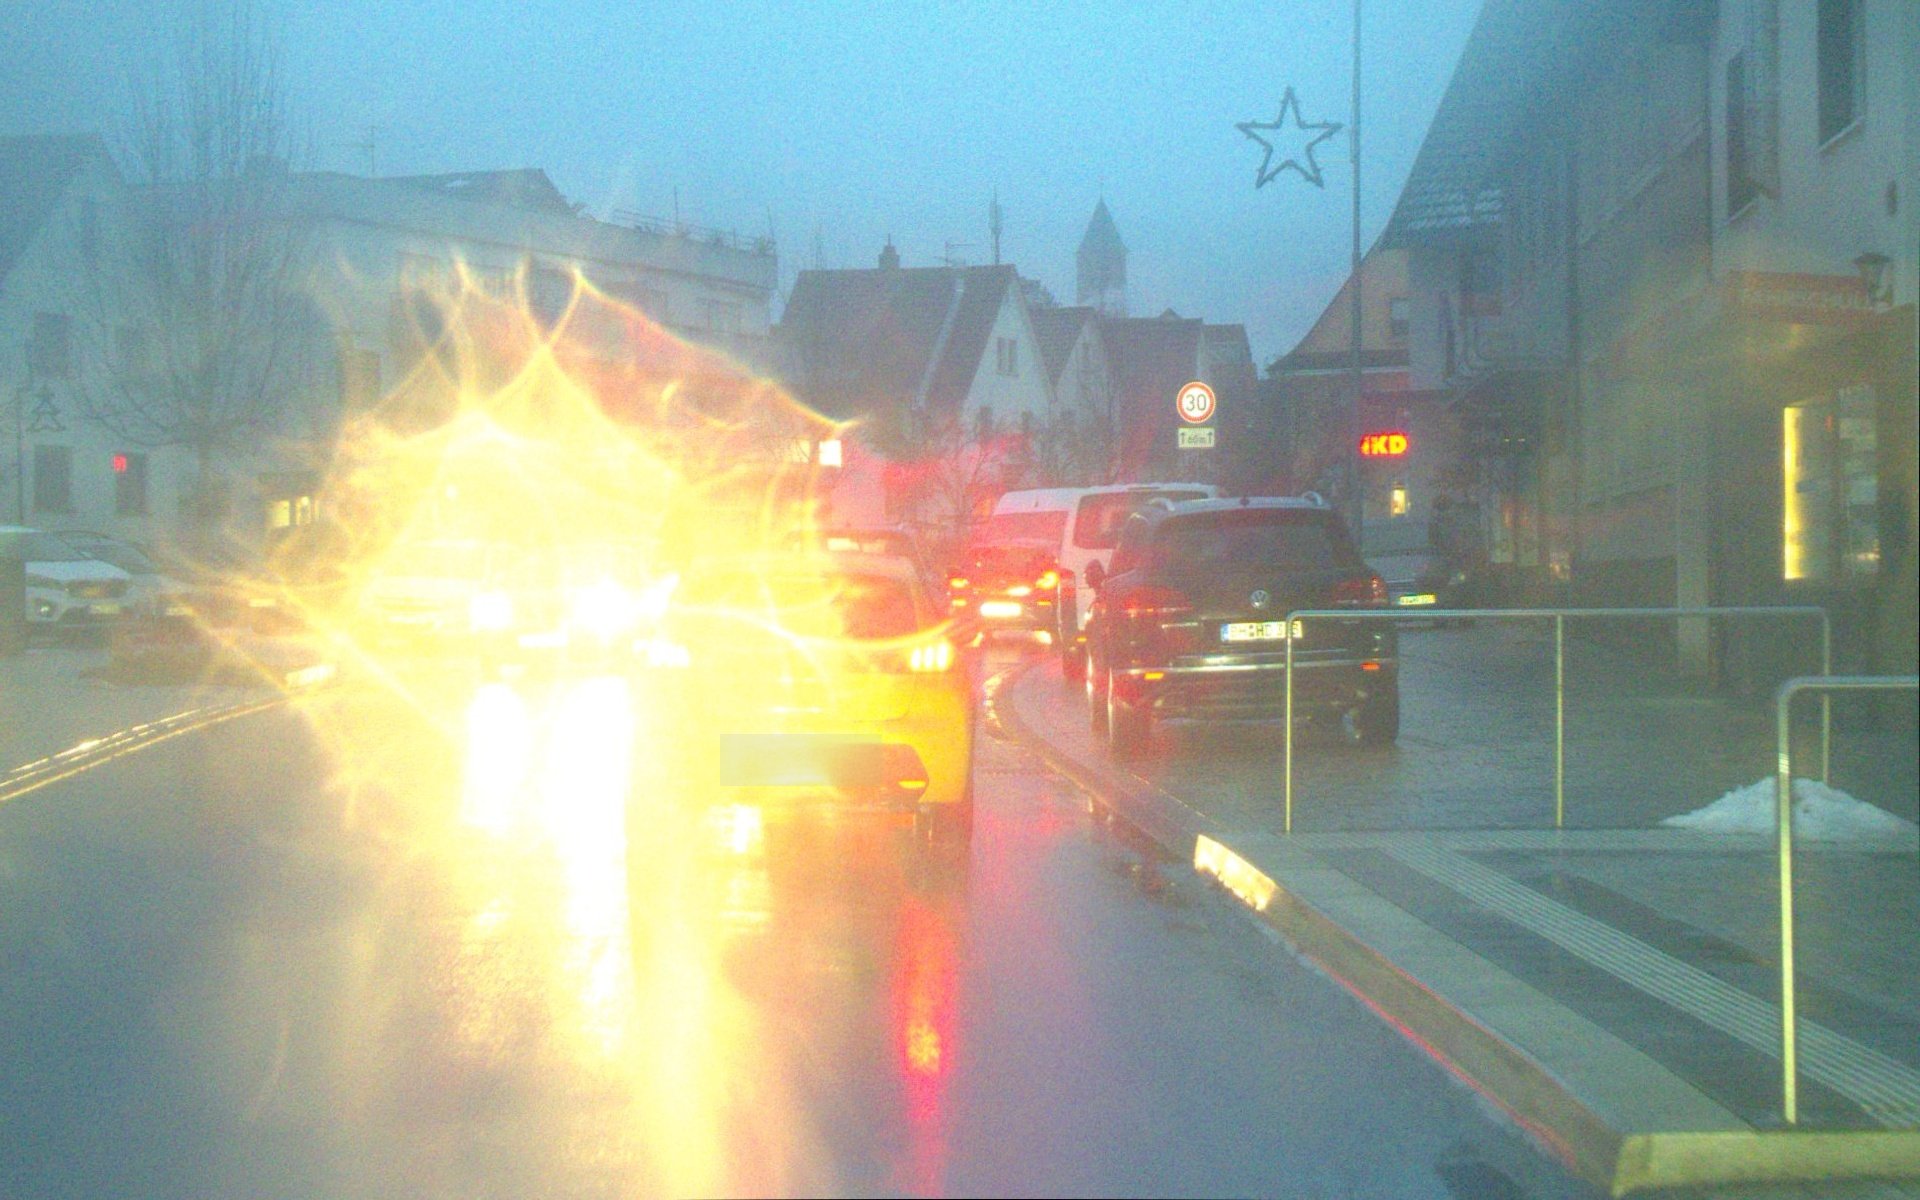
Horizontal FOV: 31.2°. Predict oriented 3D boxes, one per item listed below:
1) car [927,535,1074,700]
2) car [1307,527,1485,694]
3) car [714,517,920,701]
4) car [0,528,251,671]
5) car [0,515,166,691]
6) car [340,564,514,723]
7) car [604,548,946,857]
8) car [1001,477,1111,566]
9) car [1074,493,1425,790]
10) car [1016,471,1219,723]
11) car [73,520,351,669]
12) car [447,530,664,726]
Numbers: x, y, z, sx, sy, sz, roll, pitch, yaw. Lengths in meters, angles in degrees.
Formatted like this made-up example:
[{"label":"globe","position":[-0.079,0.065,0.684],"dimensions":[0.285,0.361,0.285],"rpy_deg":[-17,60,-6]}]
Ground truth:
[{"label":"car","position":[0.553,0.295,49.715],"dimensions":[1.993,2.244,4.000],"rpy_deg":[1,-2,0]},{"label":"car","position":[6.166,0.193,49.059],"dimensions":[1.993,2.241,4.000],"rpy_deg":[1,-2,0]},{"label":"car","position":[-1.319,0.055,33.004],"dimensions":[1.766,1.623,3.586],"rpy_deg":[2,1,0]},{"label":"car","position":[-12.443,0.002,50.544],"dimensions":[4.166,1.969,1.818],"rpy_deg":[0,-2,43]},{"label":"car","position":[-12.943,0.054,46.698],"dimensions":[4.382,2.244,1.995],"rpy_deg":[0,-2,42]},{"label":"car","position":[-7.200,0.615,46.776],"dimensions":[1.919,2.021,3.975],"rpy_deg":[2,-2,-3]},{"label":"car","position":[-0.905,0.461,17.596],"dimensions":[1.563,1.408,3.018],"rpy_deg":[1,1,-1]},{"label":"car","position":[1.885,-1.502,66.692],"dimensions":[1.488,1.521,3.412],"rpy_deg":[1,-2,13]},{"label":"car","position":[1.931,0.260,24.173],"dimensions":[1.997,1.858,4.083],"rpy_deg":[-2,0,-1]},{"label":"car","position":[1.608,0.026,36.505],"dimensions":[1.870,2.461,4.443],"rpy_deg":[1,-2,0]},{"label":"car","position":[-11.612,-0.069,53.232],"dimensions":[4.382,2.159,1.995],"rpy_deg":[0,-2,43]},{"label":"car","position":[-4.610,0.358,39.720],"dimensions":[1.993,2.105,4.000],"rpy_deg":[1,-2,0]}]
